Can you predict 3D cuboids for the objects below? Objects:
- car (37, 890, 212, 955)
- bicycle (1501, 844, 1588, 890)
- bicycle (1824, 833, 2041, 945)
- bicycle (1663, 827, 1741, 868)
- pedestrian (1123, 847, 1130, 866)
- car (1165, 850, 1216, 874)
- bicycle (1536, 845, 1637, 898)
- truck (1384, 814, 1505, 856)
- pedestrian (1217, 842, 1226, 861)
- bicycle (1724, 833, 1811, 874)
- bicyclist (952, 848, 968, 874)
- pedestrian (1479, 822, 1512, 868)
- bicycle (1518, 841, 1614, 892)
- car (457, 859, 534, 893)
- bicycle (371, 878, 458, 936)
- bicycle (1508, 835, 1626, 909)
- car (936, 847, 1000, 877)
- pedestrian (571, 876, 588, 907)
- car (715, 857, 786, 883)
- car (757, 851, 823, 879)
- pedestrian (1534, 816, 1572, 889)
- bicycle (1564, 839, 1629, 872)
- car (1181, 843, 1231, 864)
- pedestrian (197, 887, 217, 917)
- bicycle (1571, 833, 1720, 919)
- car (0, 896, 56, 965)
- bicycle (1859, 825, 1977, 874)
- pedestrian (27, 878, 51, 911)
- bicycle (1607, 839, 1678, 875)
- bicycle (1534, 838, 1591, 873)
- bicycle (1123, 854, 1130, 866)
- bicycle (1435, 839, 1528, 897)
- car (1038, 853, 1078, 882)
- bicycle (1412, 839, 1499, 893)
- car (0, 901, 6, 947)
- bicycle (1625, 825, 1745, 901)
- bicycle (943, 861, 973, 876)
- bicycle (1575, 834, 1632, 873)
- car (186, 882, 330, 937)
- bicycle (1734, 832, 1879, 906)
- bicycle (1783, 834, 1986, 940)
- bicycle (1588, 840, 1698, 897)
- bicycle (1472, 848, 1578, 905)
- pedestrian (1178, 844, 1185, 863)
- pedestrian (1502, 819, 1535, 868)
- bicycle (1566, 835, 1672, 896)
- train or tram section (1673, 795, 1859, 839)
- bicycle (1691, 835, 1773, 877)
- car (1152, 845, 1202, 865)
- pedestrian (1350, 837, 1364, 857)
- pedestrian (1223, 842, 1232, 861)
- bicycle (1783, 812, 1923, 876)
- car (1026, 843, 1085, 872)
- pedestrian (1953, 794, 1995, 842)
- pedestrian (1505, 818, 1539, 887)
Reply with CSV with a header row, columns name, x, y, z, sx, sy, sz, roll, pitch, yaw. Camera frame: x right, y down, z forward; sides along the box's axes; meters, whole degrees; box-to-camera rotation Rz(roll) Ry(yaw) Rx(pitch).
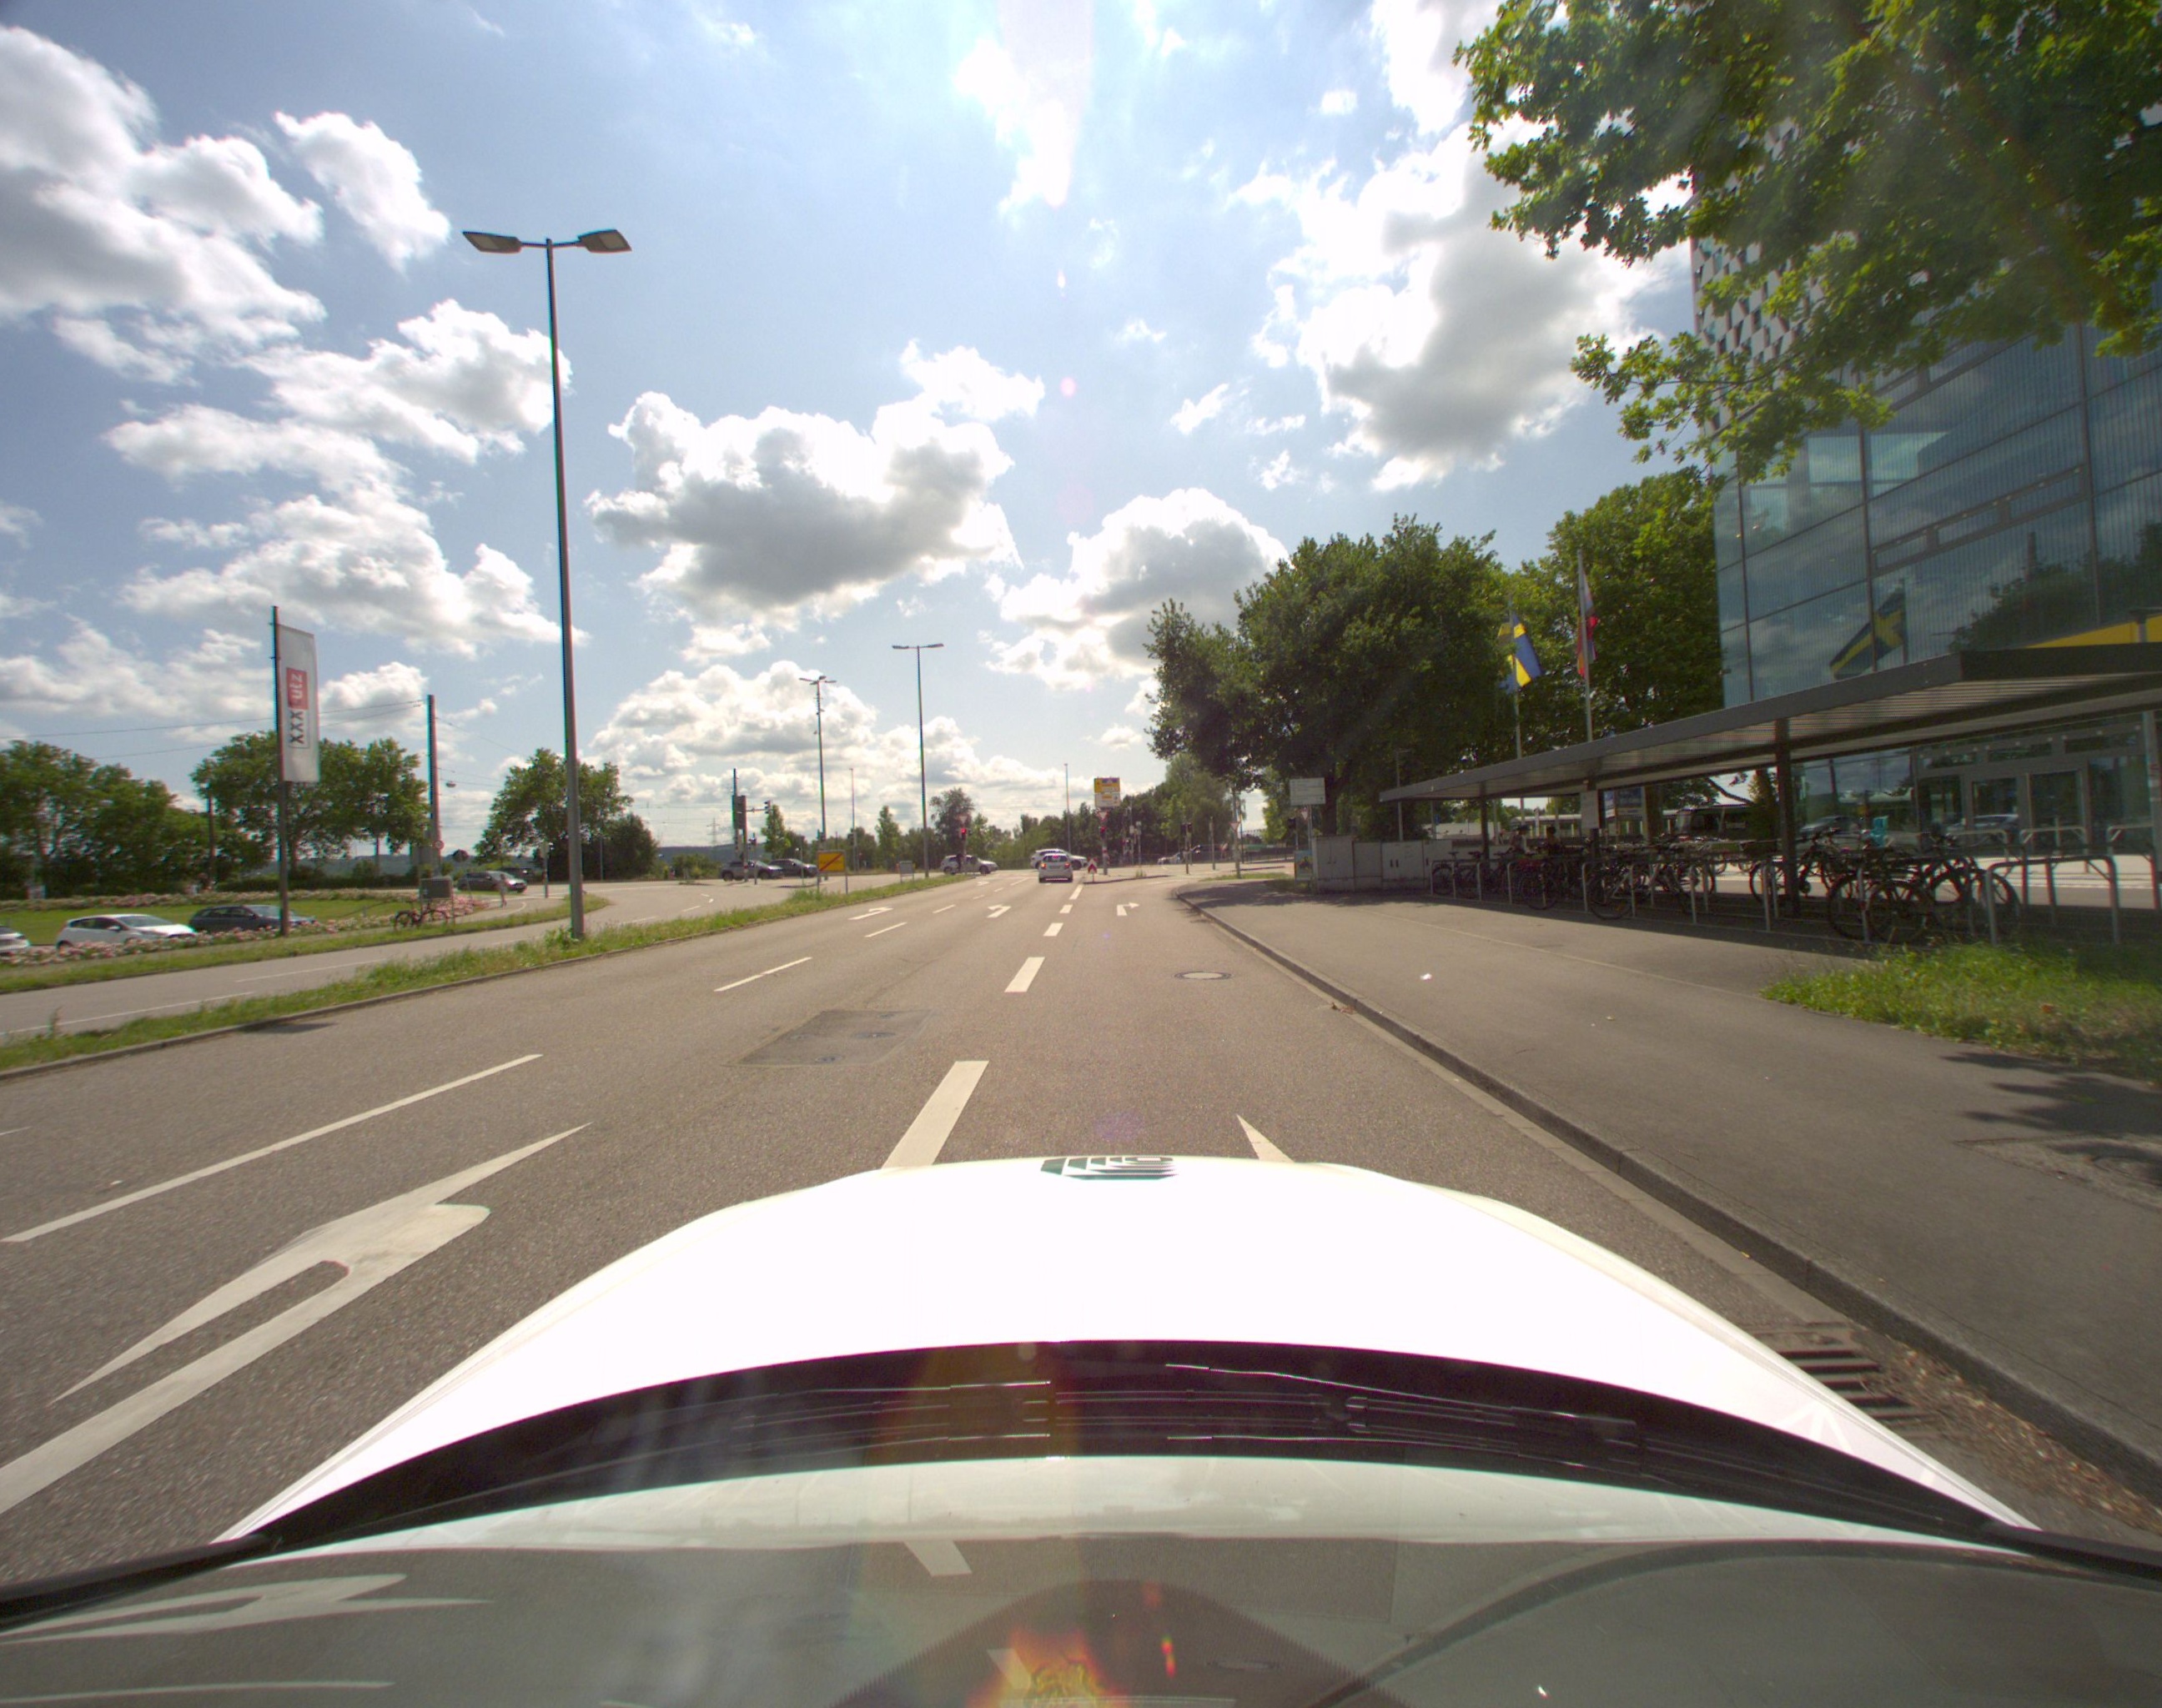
name,x,y,z,sx,sy,sz,roll,pitch,yaw
car,-34.591,2.454,29.549,3.972,2.013,2.001,-3,-1,2
bicycle,11.087,0.308,19.499,1.858,0.994,0.423,-3,0,-4
bicycle,8.899,0.351,8.530,1.858,0.994,0.423,-5,0,-4
bicycle,17.474,-0.176,22.908,1.858,0.995,0.423,-4,-2,-4
pedestrian,4.342,0.227,77.142,0.608,1.769,0.673,-3,0,3
car,9.267,0.704,69.134,3.975,1.783,1.909,-3,0,-1
bicycle,10.696,0.364,17.247,1.858,0.994,0.423,-4,0,-4
truck,40.045,-2.037,90.090,11.913,4.104,2.953,-2,0,1
pedestrian,13.186,-0.247,76.432,0.703,1.721,0.601,-3,0,4
bicycle,17.171,-0.009,20.373,1.858,0.882,0.423,-4,-1,-4
bicyclist,-8.517,0.487,57.391,0.918,1.846,0.611,-2,0,1
pedestrian,17.710,-0.372,34.853,1.000,1.902,0.978,-3,-1,16
bicycle,11.002,0.283,18.497,1.854,1.034,0.424,-3,0,2
car,-38.643,1.437,53.776,3.955,2.013,2.009,-3,0,17
bicycle,-21.548,1.675,26.387,1.013,1.675,2.049,-3,0,2
bicycle,8.749,0.318,14.691,1.858,1.187,0.423,-4,0,-4
car,-8.316,0.595,60.237,4.334,1.989,2.000,-3,0,0
pedestrian,-30.460,2.267,49.504,0.800,1.837,0.859,0,-1,-27
car,-24.840,1.211,61.327,4.487,1.674,1.905,-3,-1,2
car,-22.873,0.847,64.147,4.334,1.989,2.000,-3,0,0
pedestrian,11.081,-0.040,19.124,0.542,1.662,0.478,-3,0,0
bicycle,17.396,0.042,27.492,1.854,0.994,0.424,-3,0,2
car,12.264,-0.025,80.220,4.635,1.820,2.000,-3,0,1
pedestrian,-52.849,2.899,49.248,0.529,1.810,0.599,-3,0,12
bicycle,8.613,0.326,12.464,1.888,1.170,0.424,-4,0,2
car,-34.279,2.424,24.475,4.334,1.989,2.000,-3,0,0
bicycle,17.253,-0.100,16.804,1.855,0.881,0.471,-4,0,1
pedestrian,-66.395,2.563,51.887,0.560,2.013,0.779,-3,0,22
bicycle,17.285,0.090,25.087,1.857,0.994,0.464,-3,0,-3
bicycle,16.986,0.052,28.710,1.924,1.108,0.501,-3,-2,-17
bicycle,4.355,0.546,77.176,0.616,1.087,1.724,-2,0,3
bicycle,8.988,0.310,18.303,1.858,1.187,0.423,-4,0,-4
car,-1.185,0.694,43.636,1.887,1.469,3.835,-1,0,2
bicycle,9.018,0.276,19.621,1.858,1.187,0.423,-3,0,-4
car,-49.234,3.149,34.621,4.334,1.989,2.000,-3,0,0
bicycle,10.897,0.151,14.709,1.858,1.231,0.423,-4,0,-4
bicycle,-8.683,1.005,57.386,2.010,0.999,0.622,0,0,1
bicycle,16.983,-0.033,26.468,1.678,1.157,0.459,-4,0,-13
car,-34.711,2.318,34.425,3.972,2.013,2.001,-3,-1,2
bicycle,11.210,0.229,12.600,1.858,0.994,0.423,-4,-1,-4
bicycle,8.882,0.358,9.020,1.858,0.994,0.423,-5,0,-4
bicycle,10.982,0.277,15.933,1.858,0.995,0.423,-3,-2,-4
bicycle,8.774,0.447,16.123,1.858,0.994,0.423,-4,0,-4
pedestrian,9.283,-0.023,75.180,0.520,1.721,0.731,-3,0,5
pedestrian,19.024,-0.428,35.456,1.000,2.072,0.978,-3,-2,16
bicycle,10.944,0.227,16.584,1.858,1.116,0.423,-3,-1,-4
train or tram section,59.636,-3.228,71.088,14.018,3.186,3.044,-2,-1,-2
bicycle,17.099,0.045,21.399,1.858,0.994,0.423,-3,-1,-4
car,10.145,0.097,86.355,5.100,1.808,2.000,-3,0,0
pedestrian,26.037,-0.647,76.838,0.923,1.807,0.736,-2,0,0
pedestrian,13.589,-0.210,75.714,0.673,1.748,0.638,-2,1,4
bicycle,16.987,-0.220,17.974,2.126,1.229,0.723,-4,0,11
car,-1.935,0.253,63.282,4.334,1.989,2.000,-3,0,0
pedestrian,32.466,-1.295,29.608,0.705,1.664,0.797,-2,-2,-29
pedestrian,10.989,-0.033,20.320,0.540,1.662,0.548,-3,0,12
